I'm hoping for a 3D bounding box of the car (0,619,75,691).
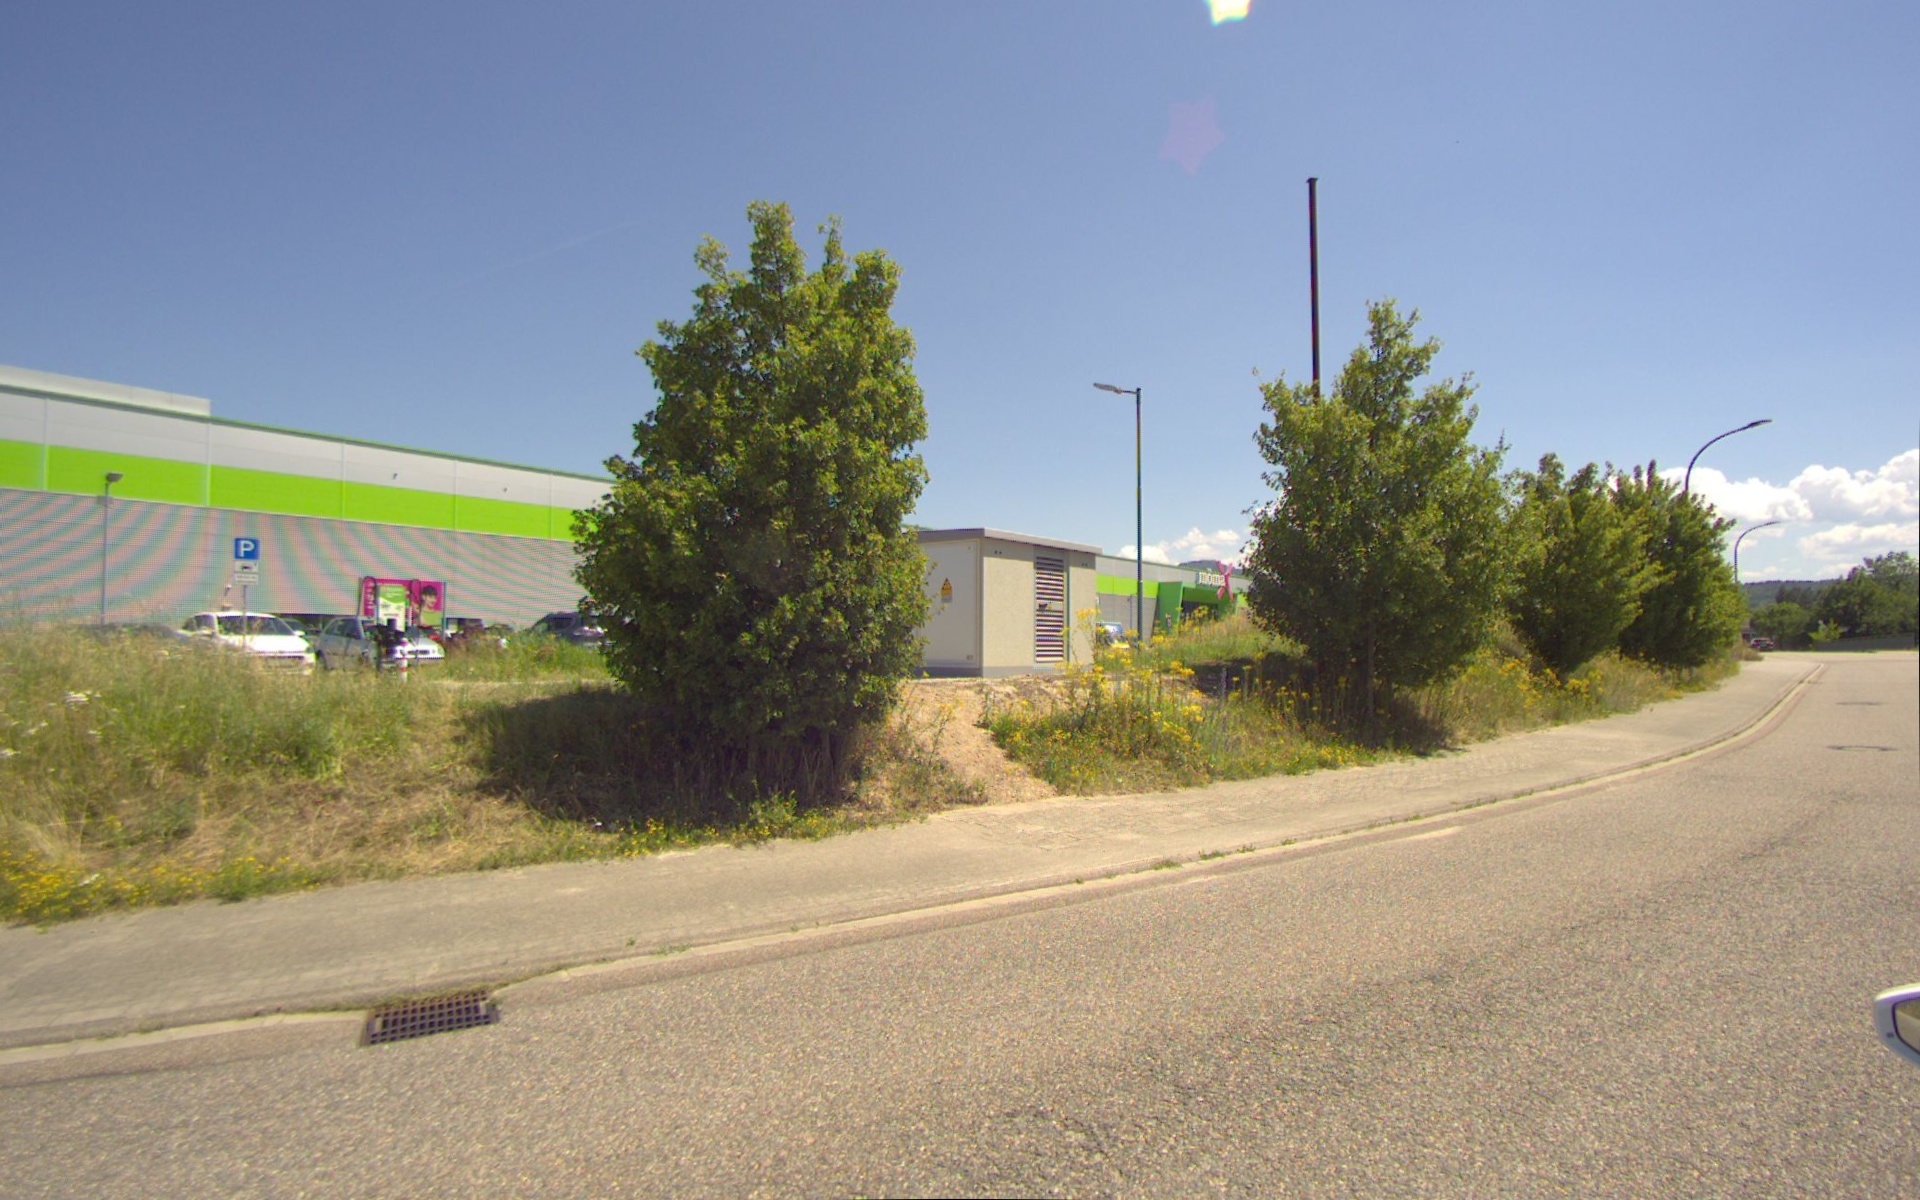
[{"bbox_3d":[-25.284,1.451,26.577,3.936,1.800,1.993,-2,-3,37],"label":"car"}]

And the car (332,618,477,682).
[{"bbox_3d":[-13.234,1.185,23.869,3.738,1.417,1.636,-2,-3,37],"label":"car"}]

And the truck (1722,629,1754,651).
[{"bbox_3d":[102.828,5.250,132.803,2.645,2.809,6.076,0,-1,31],"label":"truck"}]

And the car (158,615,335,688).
[{"bbox_3d":[-15.449,1.104,21.713,3.936,1.431,1.993,-2,-3,37],"label":"car"}]

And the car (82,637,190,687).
[{"bbox_3d":[-23.660,1.746,28.807,3.936,1.342,1.486,-2,-3,37],"label":"car"}]

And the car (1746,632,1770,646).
[{"bbox_3d":[82.430,4.007,103.831,1.753,1.467,3.440,-1,-2,36],"label":"car"}]
